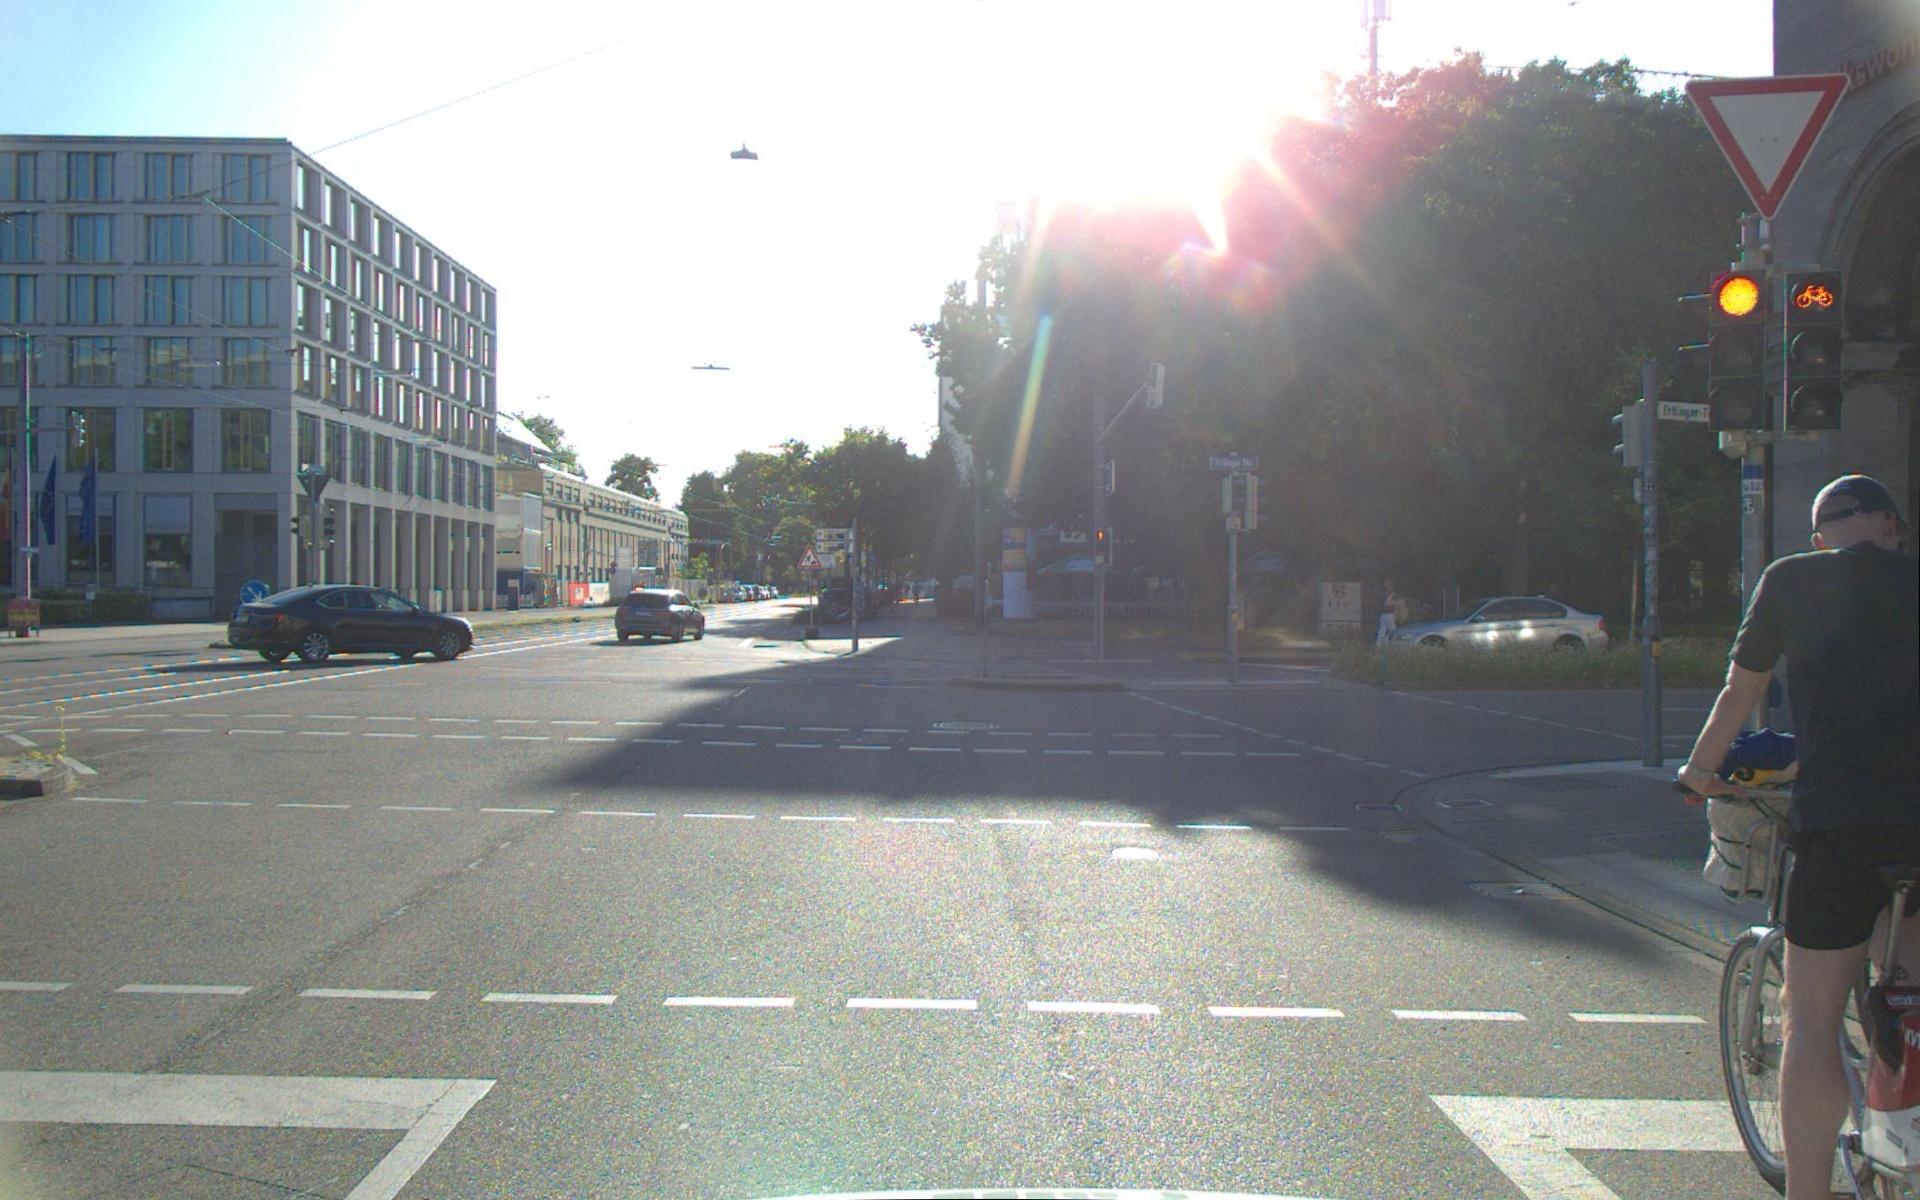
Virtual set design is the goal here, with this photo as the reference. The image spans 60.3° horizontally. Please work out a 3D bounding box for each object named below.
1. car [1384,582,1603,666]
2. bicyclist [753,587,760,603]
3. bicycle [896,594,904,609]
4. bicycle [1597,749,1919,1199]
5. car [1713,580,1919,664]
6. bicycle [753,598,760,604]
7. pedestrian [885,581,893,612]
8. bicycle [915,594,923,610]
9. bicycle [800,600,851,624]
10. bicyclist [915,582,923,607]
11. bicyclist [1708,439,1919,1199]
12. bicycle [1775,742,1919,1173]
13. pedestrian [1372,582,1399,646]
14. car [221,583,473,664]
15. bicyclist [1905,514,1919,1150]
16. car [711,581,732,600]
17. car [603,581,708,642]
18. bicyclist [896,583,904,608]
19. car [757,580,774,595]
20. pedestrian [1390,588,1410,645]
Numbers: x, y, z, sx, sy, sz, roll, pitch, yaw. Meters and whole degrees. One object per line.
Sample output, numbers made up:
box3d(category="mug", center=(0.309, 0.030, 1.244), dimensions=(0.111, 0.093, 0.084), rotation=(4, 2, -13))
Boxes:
box3d(category="car", center=(10.774, 0.478, 33.567), dimensions=(3.912, 1.639, 1.650), rotation=(0, 0, -1))
box3d(category="bicyclist", center=(-17.930, -0.399, 145.686), dimensions=(0.584, 1.401, 0.637), rotation=(1, -1, -2))
box3d(category="bicycle", center=(-4.185, 0.104, 115.485), dimensions=(0.563, 1.096, 1.830), rotation=(0, 0, -1))
box3d(category="bicycle", center=(2.076, 0.984, 3.895), dimensions=(0.505, 1.096, 1.728), rotation=(1, 0, 1))
box3d(category="car", center=(17.536, 0.438, 33.556), dimensions=(3.770, 1.639, 1.650), rotation=(0, 0, -1))
box3d(category="bicycle", center=(-17.946, 0.128, 145.643), dimensions=(0.491, 0.524, 1.257), rotation=(1, 0, -2))
box3d(category="pedestrian", center=(-4.196, -0.188, 98.161), dimensions=(0.454, 1.845, 0.502), rotation=(0, 0, -5))
box3d(category="bicycle", center=(-2.879, 0.128, 115.363), dimensions=(0.563, 1.096, 1.830), rotation=(0, 0, -1))
box3d(category="bicycle", center=(-5.487, 0.507, 67.388), dimensions=(1.976, 0.907, 0.650), rotation=(-2, -1, 27))
box3d(category="bicyclist", center=(-2.880, -0.362, 115.397), dimensions=(0.558, 1.721, 0.699), rotation=(0, 0, -1))
box3d(category="bicyclist", center=(2.094, 0.581, 3.736), dimensions=(0.547, 1.830, 0.550), rotation=(1, 0, 1))
box3d(category="bicycle", center=(2.863, 1.003, 4.342), dimensions=(0.523, 1.096, 1.750), rotation=(1, 0, -2))
box3d(category="pedestrian", center=(11.323, 0.369, 44.031), dimensions=(0.571, 1.692, 0.514), rotation=(1, 1, 1))
box3d(category="car", center=(-11.966, 0.443, 32.496), dimensions=(1.637, 1.481, 4.402), rotation=(1, 0, 44))
box3d(category="bicyclist", center=(2.888, 0.631, 4.235), dimensions=(0.546, 1.721, 0.640), rotation=(1, 0, -2))
box3d(category="car", center=(-22.477, -0.902, 156.116), dimensions=(1.659, 1.748, 4.244), rotation=(1, 0, -4))
box3d(category="car", center=(-8.836, 0.303, 48.396), dimensions=(1.853, 1.592, 4.810), rotation=(3, 1, 3))
box3d(category="bicyclist", center=(-4.186, -0.304, 115.441), dimensions=(0.558, 1.721, 0.699), rotation=(0, 0, -1))
box3d(category="car", center=(-22.837, -1.441, 194.365), dimensions=(1.659, 1.748, 4.244), rotation=(1, 0, -4))
box3d(category="pedestrian", center=(11.899, 0.435, 44.712), dimensions=(0.430, 1.529, 0.437), rotation=(0, 0, 0))
